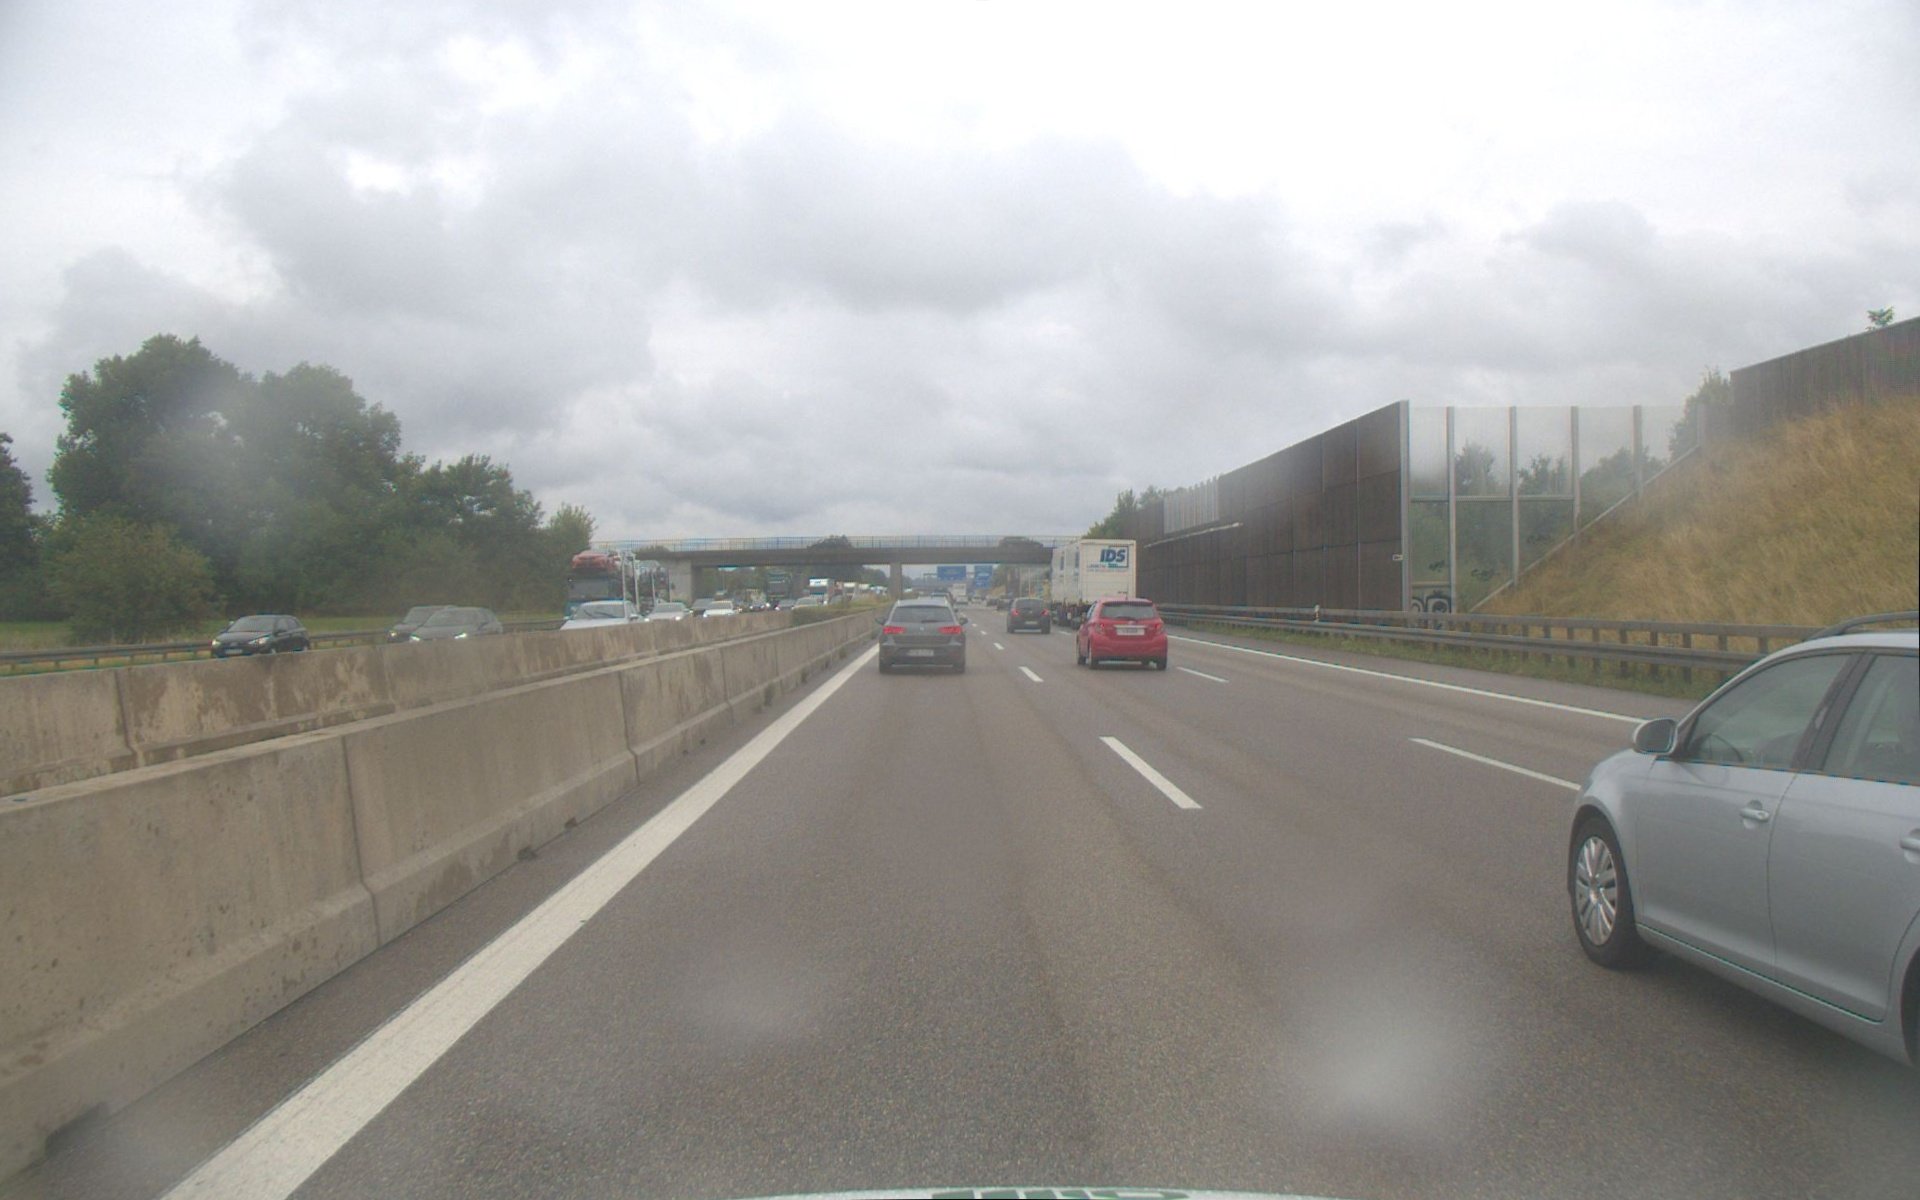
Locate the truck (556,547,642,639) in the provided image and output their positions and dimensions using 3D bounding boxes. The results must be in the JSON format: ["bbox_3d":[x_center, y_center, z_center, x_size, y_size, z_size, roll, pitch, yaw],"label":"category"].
[{"bbox_3d":[-17.783,-0.329,81.815,2.897,4.316,6.233,1,-1,-1],"label":"truck"}]

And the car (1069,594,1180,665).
[{"bbox_3d":[3.561,0.606,36.526,1.853,1.472,4.683,0,0,-2],"label":"car"}]

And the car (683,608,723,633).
[{"bbox_3d":[-18.321,1.440,117.884,2.050,1.740,4.961,0,0,0],"label":"car"}]

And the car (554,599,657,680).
[{"bbox_3d":[-9.182,0.984,43.169,1.845,1.958,4.172,-1,0,-1],"label":"car"}]

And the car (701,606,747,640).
[{"bbox_3d":[-13.708,1.312,96.176,1.953,1.912,5.031,1,0,-1],"label":"car"}]

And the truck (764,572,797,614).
[{"bbox_3d":[-18.242,-0.672,168.167,2.701,4.121,6.254,1,0,-1],"label":"truck"}]

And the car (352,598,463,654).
[{"bbox_3d":[-18.241,0.819,54.842,2.050,1.740,4.800,0,0,0],"label":"car"}]

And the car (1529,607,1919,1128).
[{"bbox_3d":[3.557,0.764,5.500,1.706,1.450,4.516,0,0,-1],"label":"car"}]

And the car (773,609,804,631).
[{"bbox_3d":[-14.088,1.651,136.118,2.050,1.740,4.800,0,0,0],"label":"car"}]

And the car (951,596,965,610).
[{"bbox_3d":[-0.272,0.448,245.127,1.953,2.049,4.241,1,0,-1],"label":"car"}]

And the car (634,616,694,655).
[{"bbox_3d":[-14.118,1.660,79.190,2.051,1.740,5.163,0,0,-2],"label":"car"}]

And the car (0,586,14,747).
[{"bbox_3d":[-12.560,0.830,17.742,1.845,1.958,5.277,-1,0,-1],"label":"car"}]

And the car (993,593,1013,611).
[{"bbox_3d":[4.406,0.207,168.600,1.808,1.716,3.998,1,0,-2],"label":"car"}]

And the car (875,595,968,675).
[{"bbox_3d":[-0.769,0.672,33.403,1.732,1.493,3.999,1,0,-1],"label":"car"}]

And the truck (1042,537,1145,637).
[{"bbox_3d":[6.387,-0.512,82.793,3.217,4.370,19.028,1,0,-1],"label":"truck"}]

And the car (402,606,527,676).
[{"bbox_3d":[-13.344,1.066,44.858,2.019,1.740,4.799,0,0,-1],"label":"car"}]

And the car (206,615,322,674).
[{"bbox_3d":[-20.644,1.294,49.215,1.846,1.623,3.998,1,0,-2],"label":"car"}]

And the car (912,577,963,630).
[{"bbox_3d":[-0.836,0.116,61.344,1.788,1.882,3.999,-1,0,-1],"label":"car"}]

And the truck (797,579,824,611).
[{"bbox_3d":[-20.237,-0.657,223.960,3.206,4.116,5.291,1,-1,-1],"label":"truck"}]

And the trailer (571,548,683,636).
[{"bbox_3d":[-17.876,-0.334,90.038,2.937,4.316,15.705,1,0,0],"label":"trailer"}]

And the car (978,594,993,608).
[{"bbox_3d":[3.436,0.173,224.693,1.953,1.843,4.227,-2,0,-1],"label":"car"}]

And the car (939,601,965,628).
[{"bbox_3d":[-0.599,1.034,120.646,1.670,1.828,3.853,-2,0,-3],"label":"car"}]

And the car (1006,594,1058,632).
[{"bbox_3d":[2.974,0.521,69.171,1.882,1.548,4.621,0,0,-1],"label":"car"}]
